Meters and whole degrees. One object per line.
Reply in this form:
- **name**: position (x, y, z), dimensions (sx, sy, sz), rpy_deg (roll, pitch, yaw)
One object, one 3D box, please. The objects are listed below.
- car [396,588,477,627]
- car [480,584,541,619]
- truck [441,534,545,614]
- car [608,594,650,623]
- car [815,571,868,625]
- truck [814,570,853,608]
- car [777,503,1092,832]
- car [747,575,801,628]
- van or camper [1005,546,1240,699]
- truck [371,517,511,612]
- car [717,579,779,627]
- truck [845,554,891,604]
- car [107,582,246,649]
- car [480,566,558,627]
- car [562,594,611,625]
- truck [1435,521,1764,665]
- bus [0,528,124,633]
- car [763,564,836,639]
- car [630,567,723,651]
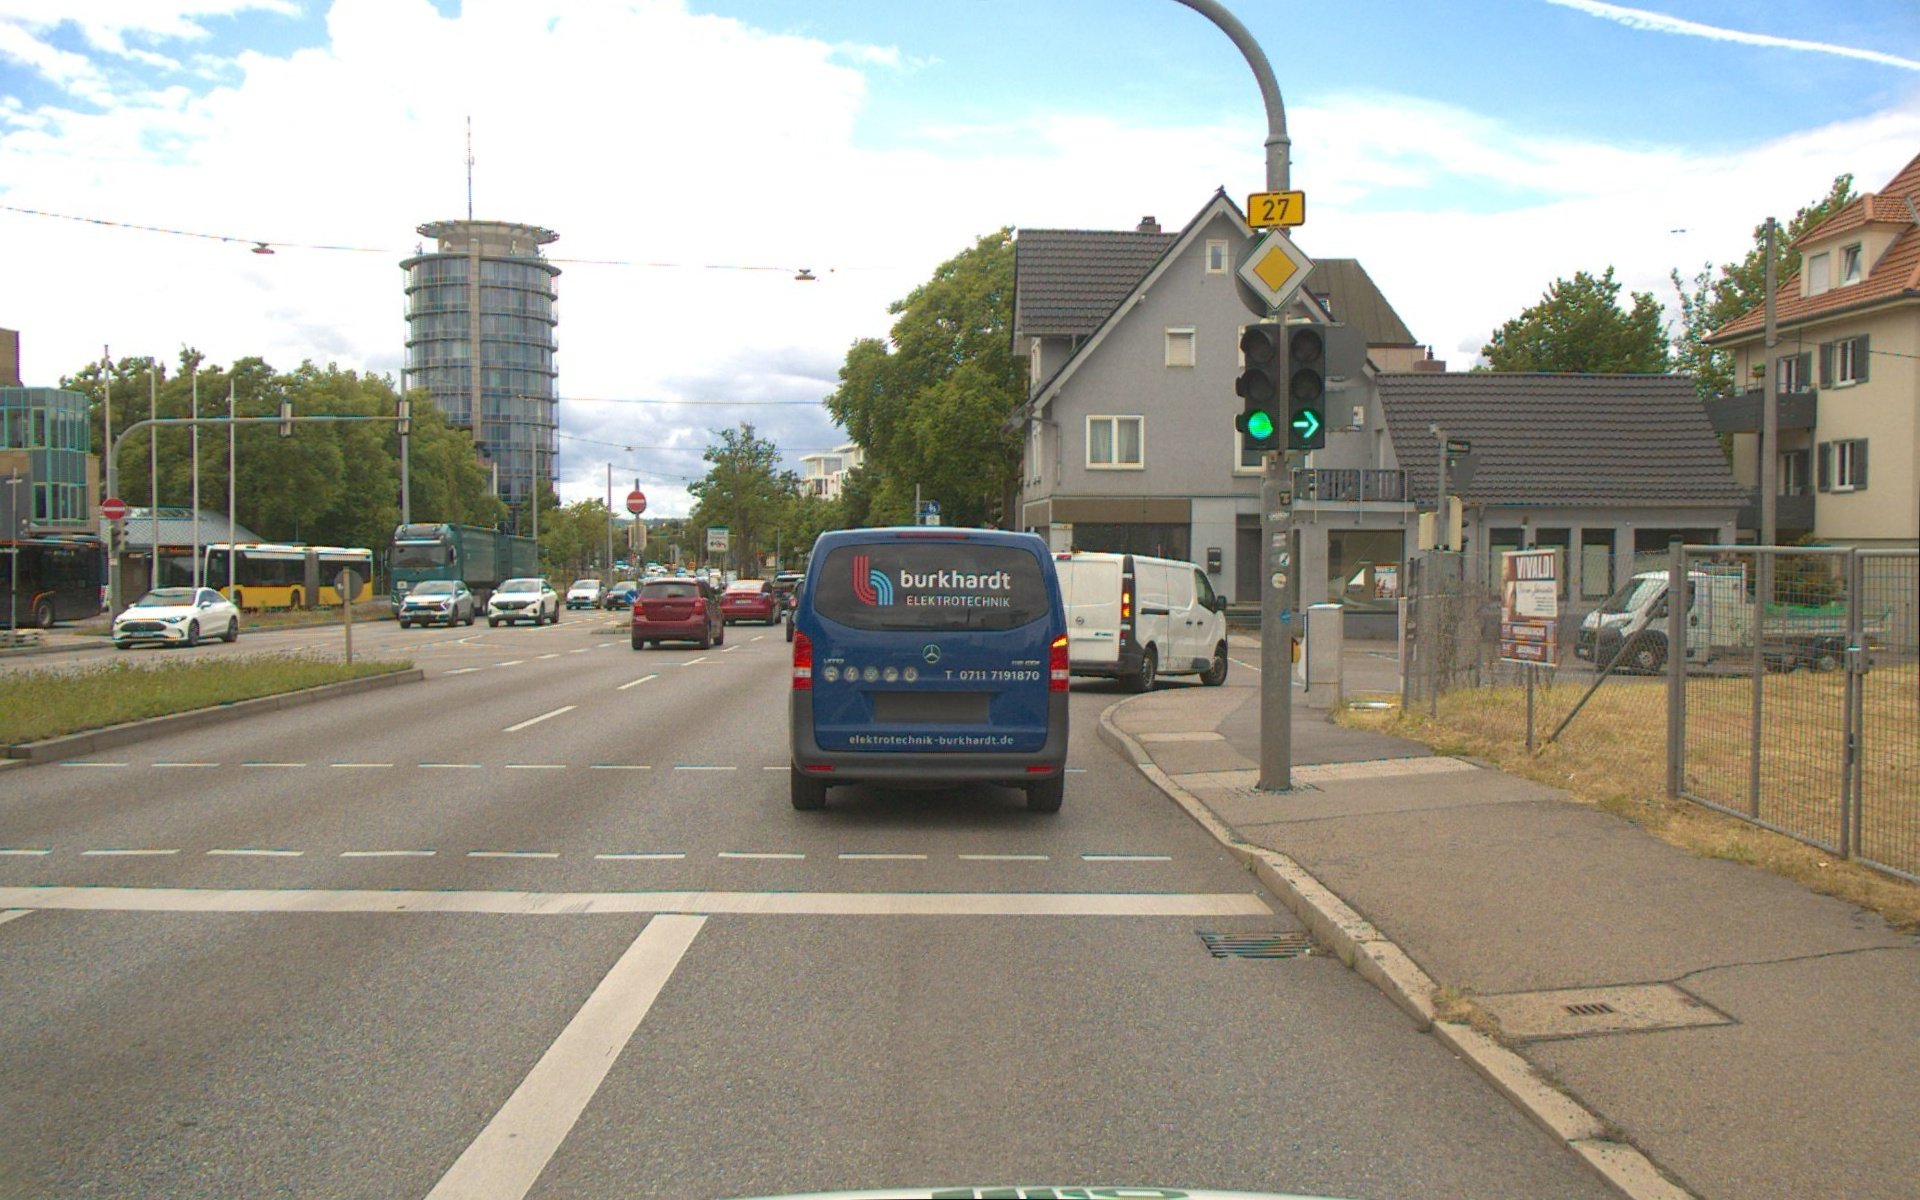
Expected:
- **car**: position (-18.347, 0.232, 58.113), dimensions (1.793, 1.284, 3.997), rpy_deg (-1, 1, -4)
- **car**: position (-19.423, 0.062, 71.614), dimensions (1.762, 1.442, 3.997), rpy_deg (-1, 1, -4)
- **truck**: position (-23.246, -1.262, 82.836), dimensions (3.301, 3.792, 8.022), rpy_deg (-1, 0, -3)
- **car**: position (-16.634, 0.398, 83.271), dimensions (1.958, 1.355, 4.434), rpy_deg (-1, 1, -11)
- **car**: position (-4.010, -0.102, 56.256), dimensions (1.712, 1.753, 3.997), rpy_deg (-1, 1, -4)
- **truck**: position (-7.649, -0.679, 100.334), dimensions (1.953, 2.203, 5.558), rpy_deg (2, 0, -1)
- **car**: position (-0.204, 0.401, 12.379), dimensions (1.908, 2.000, 4.540), rpy_deg (0, 0, -1)
- **car**: position (-7.749, 0.050, 68.482), dimensions (1.957, 2.048, 3.991), rpy_deg (1, 1, -10)
- **van or camper**: position (2.633, 0.239, 25.468), dimensions (1.954, 2.048, 5.092), rpy_deg (3, 2, 25)
- **truck**: position (-22.525, -1.461, 72.531), dimensions (3.302, 3.792, 11.271), rpy_deg (1, 0, -4)
- **car**: position (-6.958, 0.127, 53.960), dimensions (1.834, 1.512, 3.990), rpy_deg (0, -1, -10)
- **truck**: position (-4.330, -0.986, 78.521), dimensions (1.953, 2.203, 5.558), rpy_deg (2, 0, -1)
- **car**: position (-19.801, 0.353, 42.007), dimensions (1.698, 1.601, 4.502), rpy_deg (-1, 0, -5)
- **car**: position (-15.362, -0.133, 57.829), dimensions (1.955, 2.049, 4.174), rpy_deg (-1, 1, -6)
- **car**: position (-20.025, 0.499, 88.880), dimensions (1.954, 1.601, 3.997), rpy_deg (-1, 1, -4)
- **truck**: position (13.678, -0.146, 35.591), dimensions (6.258, 2.748, 1.999), rpy_deg (2, 0, -2)
- **bus**: position (-30.749, -0.617, 51.293), dimensions (2.895, 3.188, 12.165), rpy_deg (1, 0, 3)
- **car**: position (-3.952, 0.016, 41.199), dimensions (1.712, 1.753, 3.997), rpy_deg (-1, 1, -4)
- **car**: position (-6.224, 0.165, 36.666), dimensions (1.712, 1.753, 3.996), rpy_deg (-1, 1, -5)
